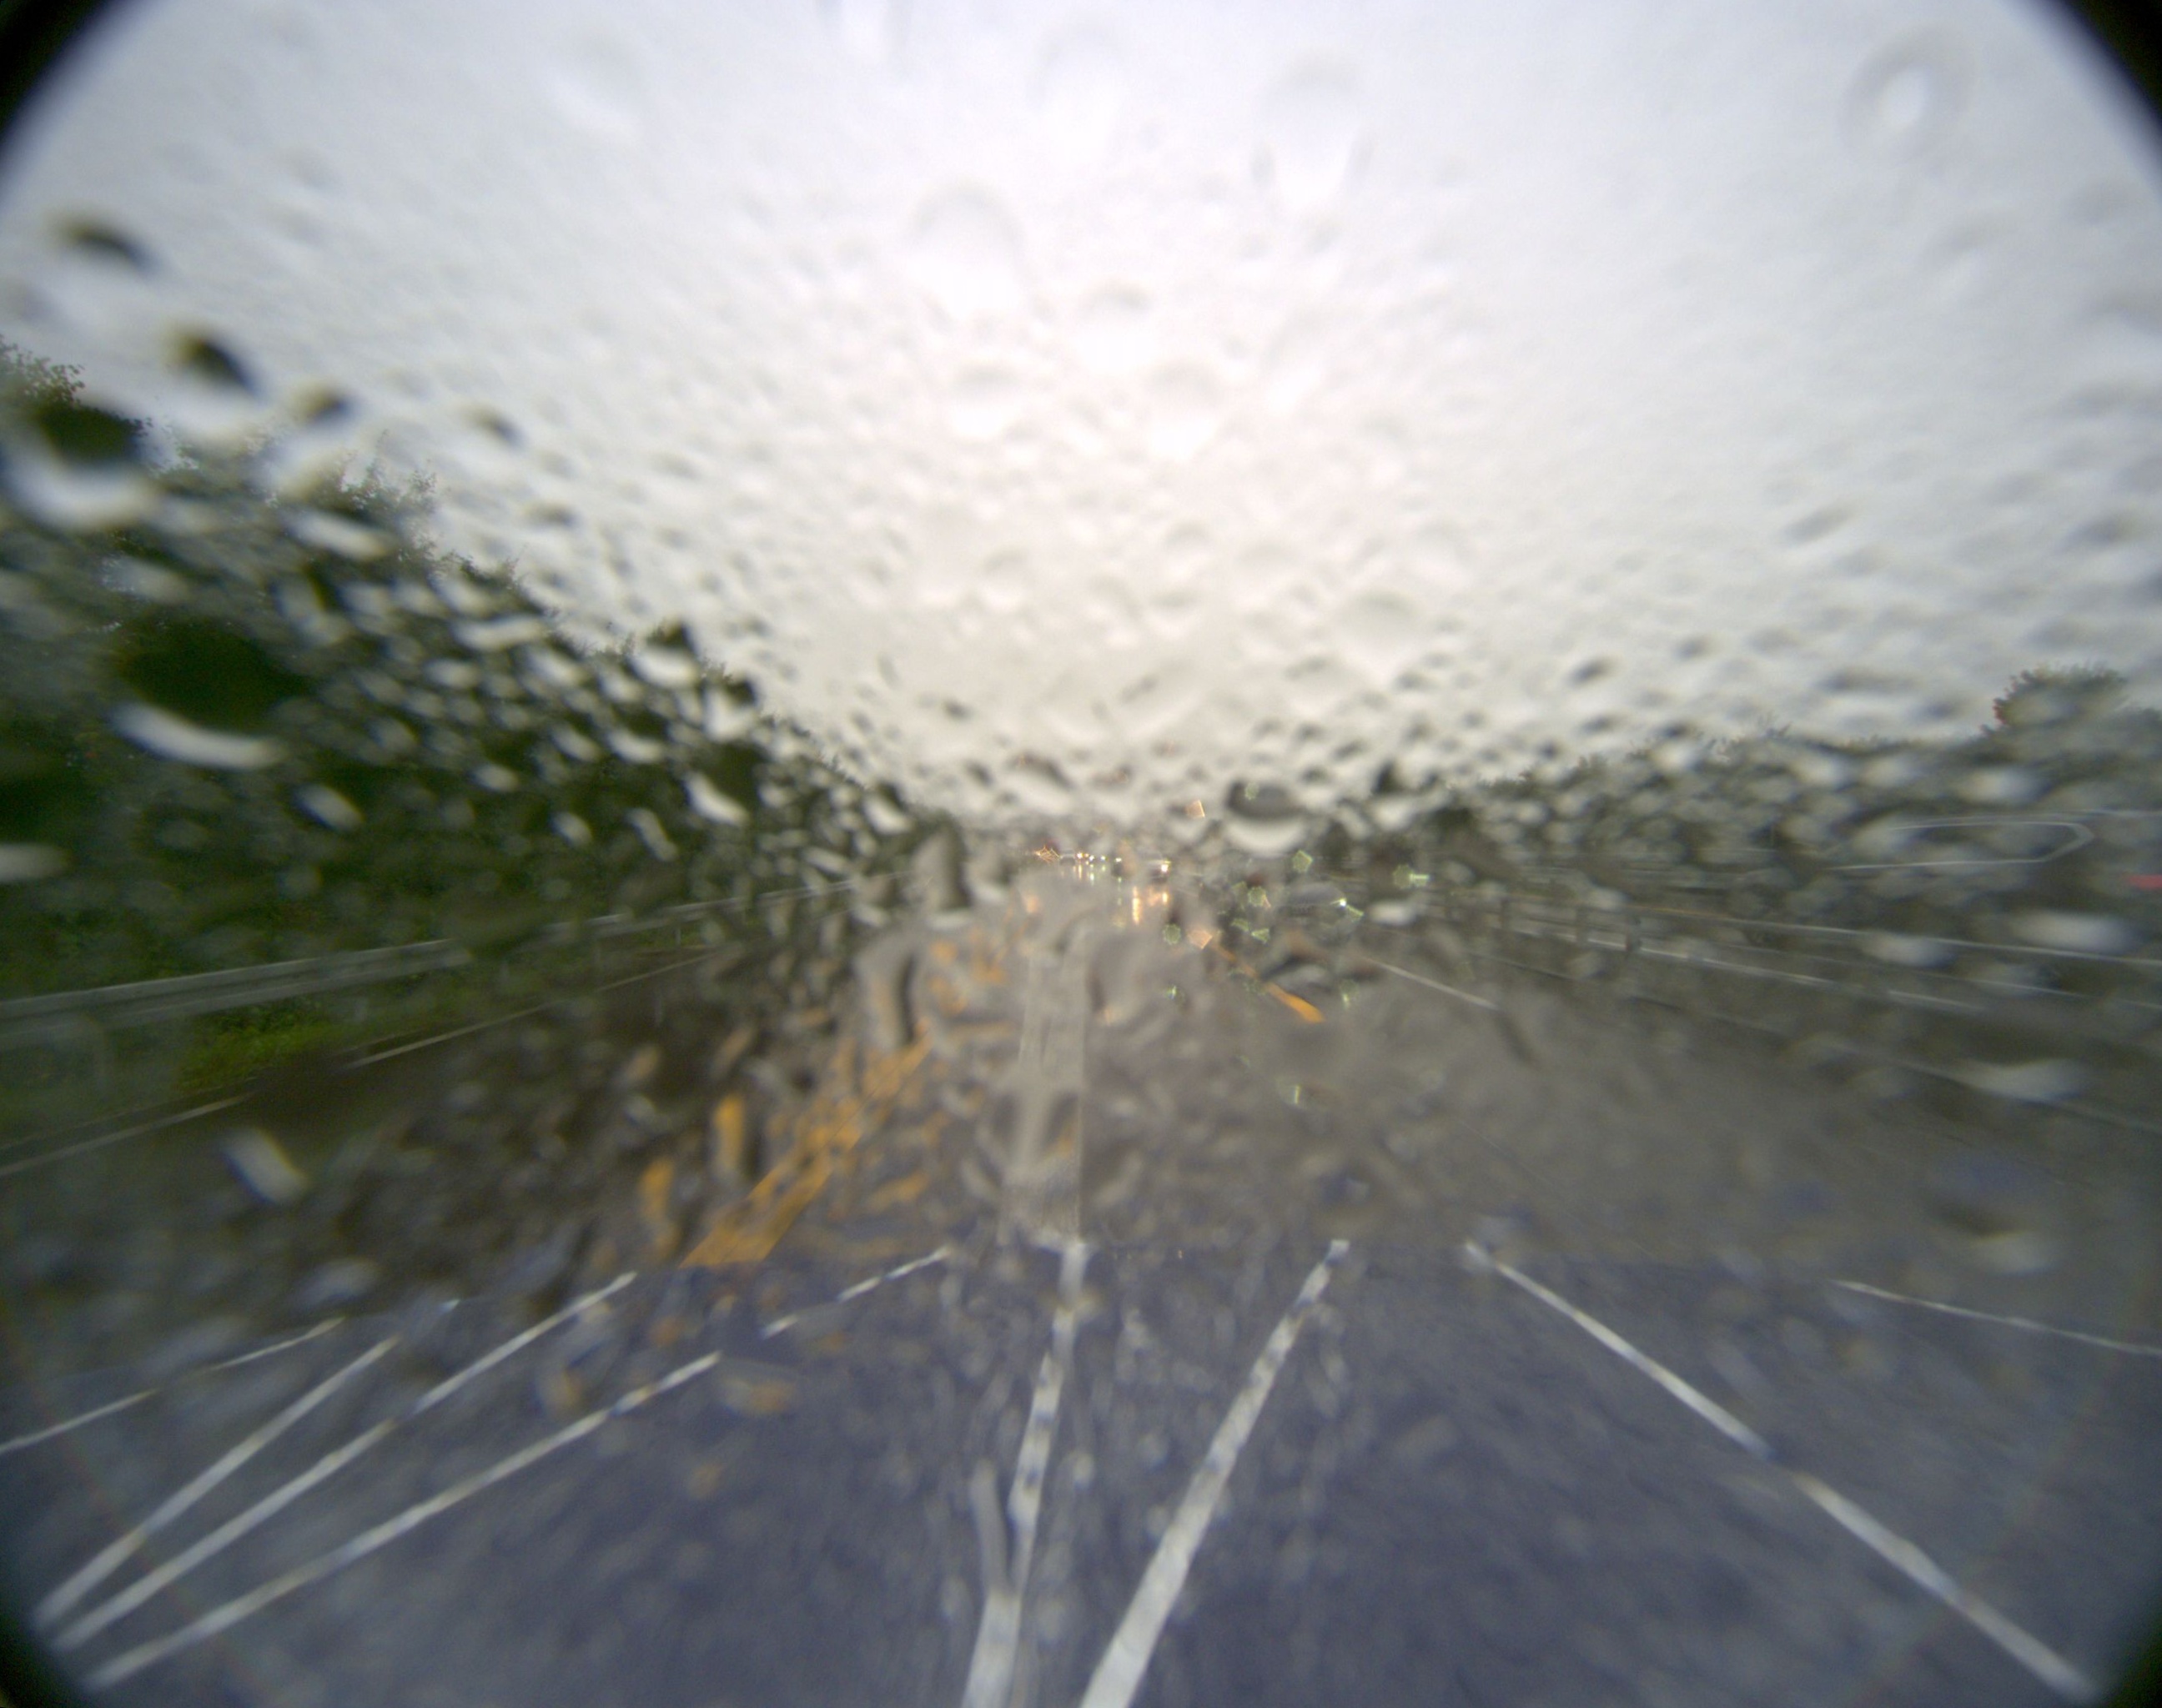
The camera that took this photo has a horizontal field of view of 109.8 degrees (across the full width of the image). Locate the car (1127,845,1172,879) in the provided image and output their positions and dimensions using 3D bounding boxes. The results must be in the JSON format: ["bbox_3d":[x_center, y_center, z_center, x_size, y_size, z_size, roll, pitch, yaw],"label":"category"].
[{"bbox_3d":[3.437,0.389,38.908,1.978,1.586,4.310,-2,-1,2],"label":"car"}]

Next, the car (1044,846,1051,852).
[{"bbox_3d":[-9.287,-1.396,212.537,1.752,1.579,3.999,-3,1,-2],"label":"car"}]

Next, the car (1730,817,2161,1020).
[{"bbox_3d":[9.472,0.472,7.852,1.783,1.595,4.315,-3,1,-1],"label":"car"}]

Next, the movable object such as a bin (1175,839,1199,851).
[{"bbox_3d":[21.737,-1.895,155.741,3.449,2.281,5.097,-3,1,-8],"label":"movable object such as a bin"}]

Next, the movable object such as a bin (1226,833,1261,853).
[{"bbox_3d":[24.450,-1.644,114.426,3.775,2.782,6.328,-3,1,-1],"label":"movable object such as a bin"}]

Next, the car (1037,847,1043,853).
[{"bbox_3d":[-13.236,-1.254,243.867,1.752,1.579,3.999,-3,1,-2],"label":"car"}]

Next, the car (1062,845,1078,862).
[{"bbox_3d":[-1.367,-0.082,92.583,1.882,2.002,3.999,-3,1,-2],"label":"car"}]

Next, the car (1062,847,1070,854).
[{"bbox_3d":[-3.761,-0.865,187.302,1.752,1.579,3.999,-3,1,-2],"label":"car"}]

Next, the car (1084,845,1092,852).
[{"bbox_3d":[1.792,-1.374,197.568,1.956,1.707,5.101,-3,1,-2],"label":"car"}]

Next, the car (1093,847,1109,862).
[{"bbox_3d":[2.466,0.063,93.130,1.695,1.740,3.999,-3,1,-2],"label":"car"}]

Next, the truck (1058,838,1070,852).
[{"bbox_3d":[-5.990,-3.067,267.537,3.284,4.809,15.977,-3,1,-5],"label":"truck"}]

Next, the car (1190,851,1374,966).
[{"bbox_3d":[3.141,0.752,12.928,1.998,1.489,4.630,-2,1,2],"label":"car"}]

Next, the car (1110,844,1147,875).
[{"bbox_3d":[3.363,0.358,54.701,2.211,2.002,5.563,-3,1,0],"label":"car"}]

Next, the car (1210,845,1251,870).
[{"bbox_3d":[9.951,0.218,50.862,1.852,1.494,4.129,-3,1,0],"label":"car"}]

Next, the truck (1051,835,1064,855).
[{"bbox_3d":[-4.734,-1.848,155.586,2.484,4.061,8.701,-3,1,-2],"label":"truck"}]

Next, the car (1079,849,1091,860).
[{"bbox_3d":[0.649,0.058,126.156,1.845,1.586,3.999,-3,1,-2],"label":"car"}]
